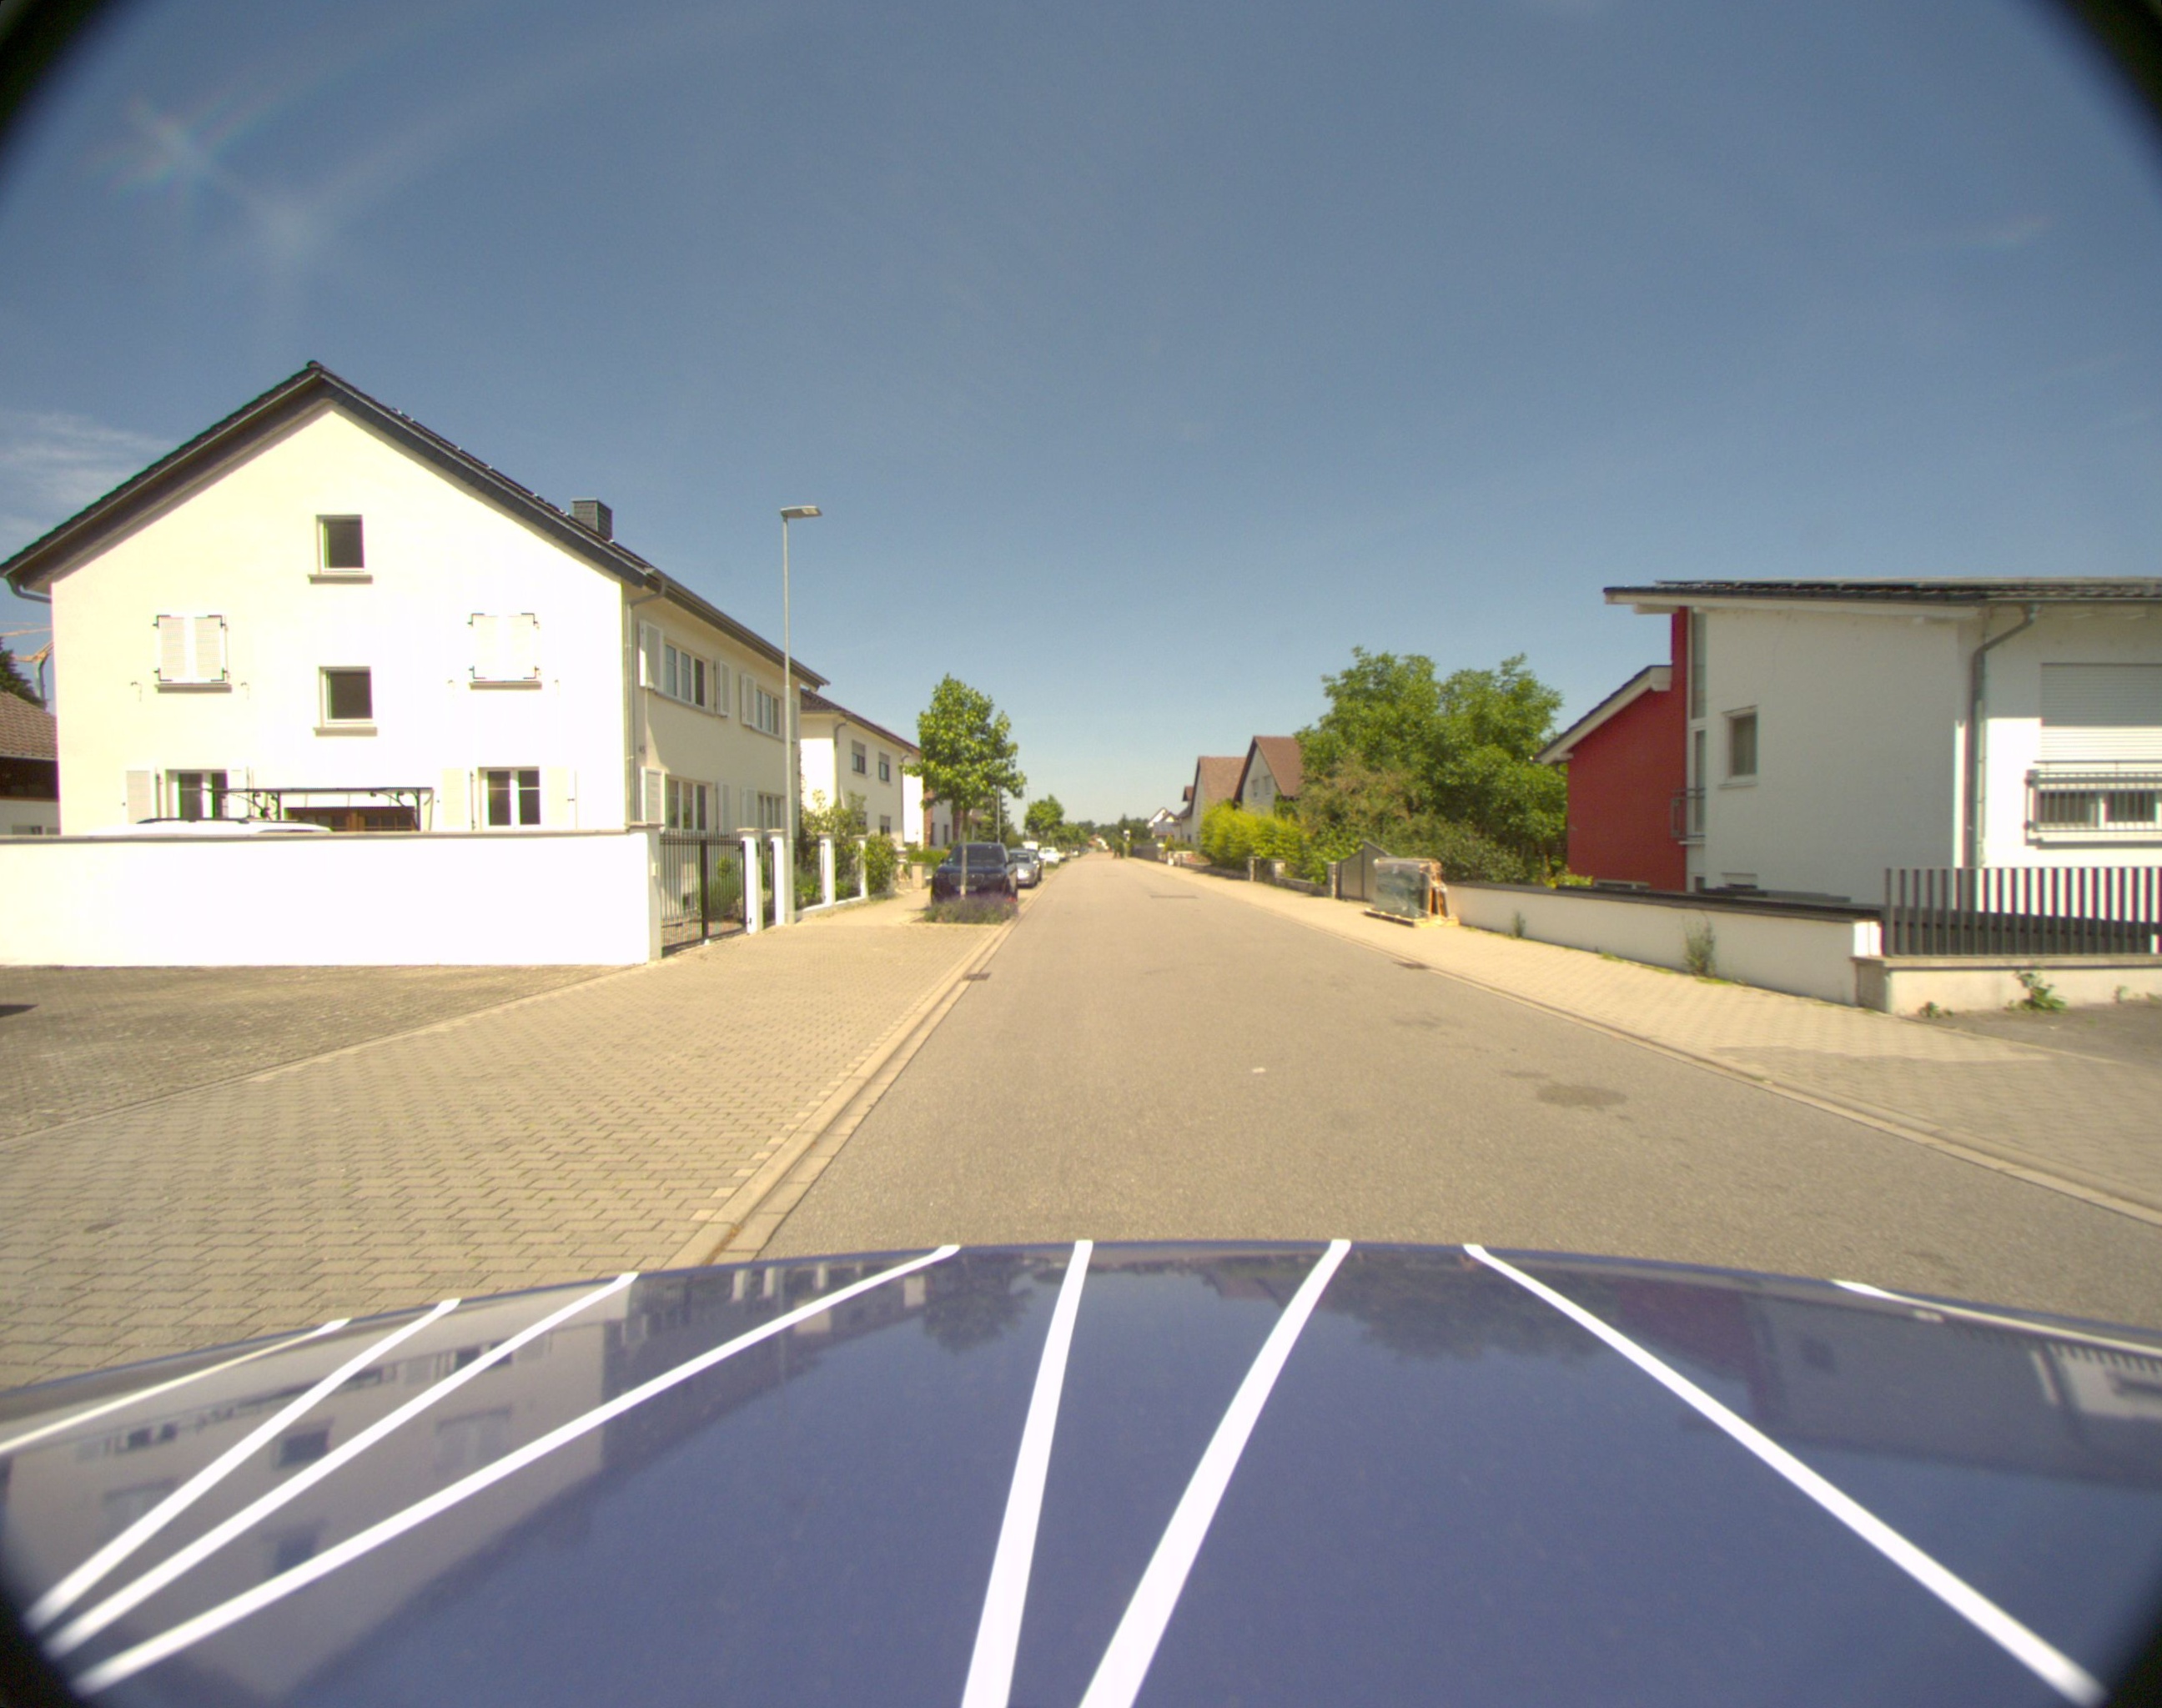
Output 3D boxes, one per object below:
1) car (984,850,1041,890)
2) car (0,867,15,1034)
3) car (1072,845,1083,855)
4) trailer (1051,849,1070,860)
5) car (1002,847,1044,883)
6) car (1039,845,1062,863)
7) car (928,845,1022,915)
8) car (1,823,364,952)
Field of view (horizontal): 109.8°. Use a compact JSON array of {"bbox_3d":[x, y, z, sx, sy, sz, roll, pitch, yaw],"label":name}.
[{"bbox_3d":[-2.596,0.558,29.652,1.819,1.412,4.092,-1,1,0],"label":"car"},{"bbox_3d":[-11.268,0.883,5.809,3.510,1.488,1.663,-1,1,-6],"label":"car"},{"bbox_3d":[-0.600,-0.724,131.527,1.597,1.630,3.803,-1,1,4],"label":"car"},{"bbox_3d":[-2.035,0.018,77.285,1.792,1.052,2.898,-1,1,1],"label":"trailer"},{"bbox_3d":[-2.600,0.447,34.988,1.746,1.524,4.447,-1,1,-2],"label":"car"},{"bbox_3d":[-2.471,-0.003,62.631,1.819,1.412,3.867,-1,1,-1],"label":"car"},{"bbox_3d":[-2.706,0.603,20.364,1.819,1.646,4.564,-1,0,0],"label":"car"},{"bbox_3d":[-13.653,0.467,11.735,3.395,1.802,1.771,-1,1,-1],"label":"car"}]
